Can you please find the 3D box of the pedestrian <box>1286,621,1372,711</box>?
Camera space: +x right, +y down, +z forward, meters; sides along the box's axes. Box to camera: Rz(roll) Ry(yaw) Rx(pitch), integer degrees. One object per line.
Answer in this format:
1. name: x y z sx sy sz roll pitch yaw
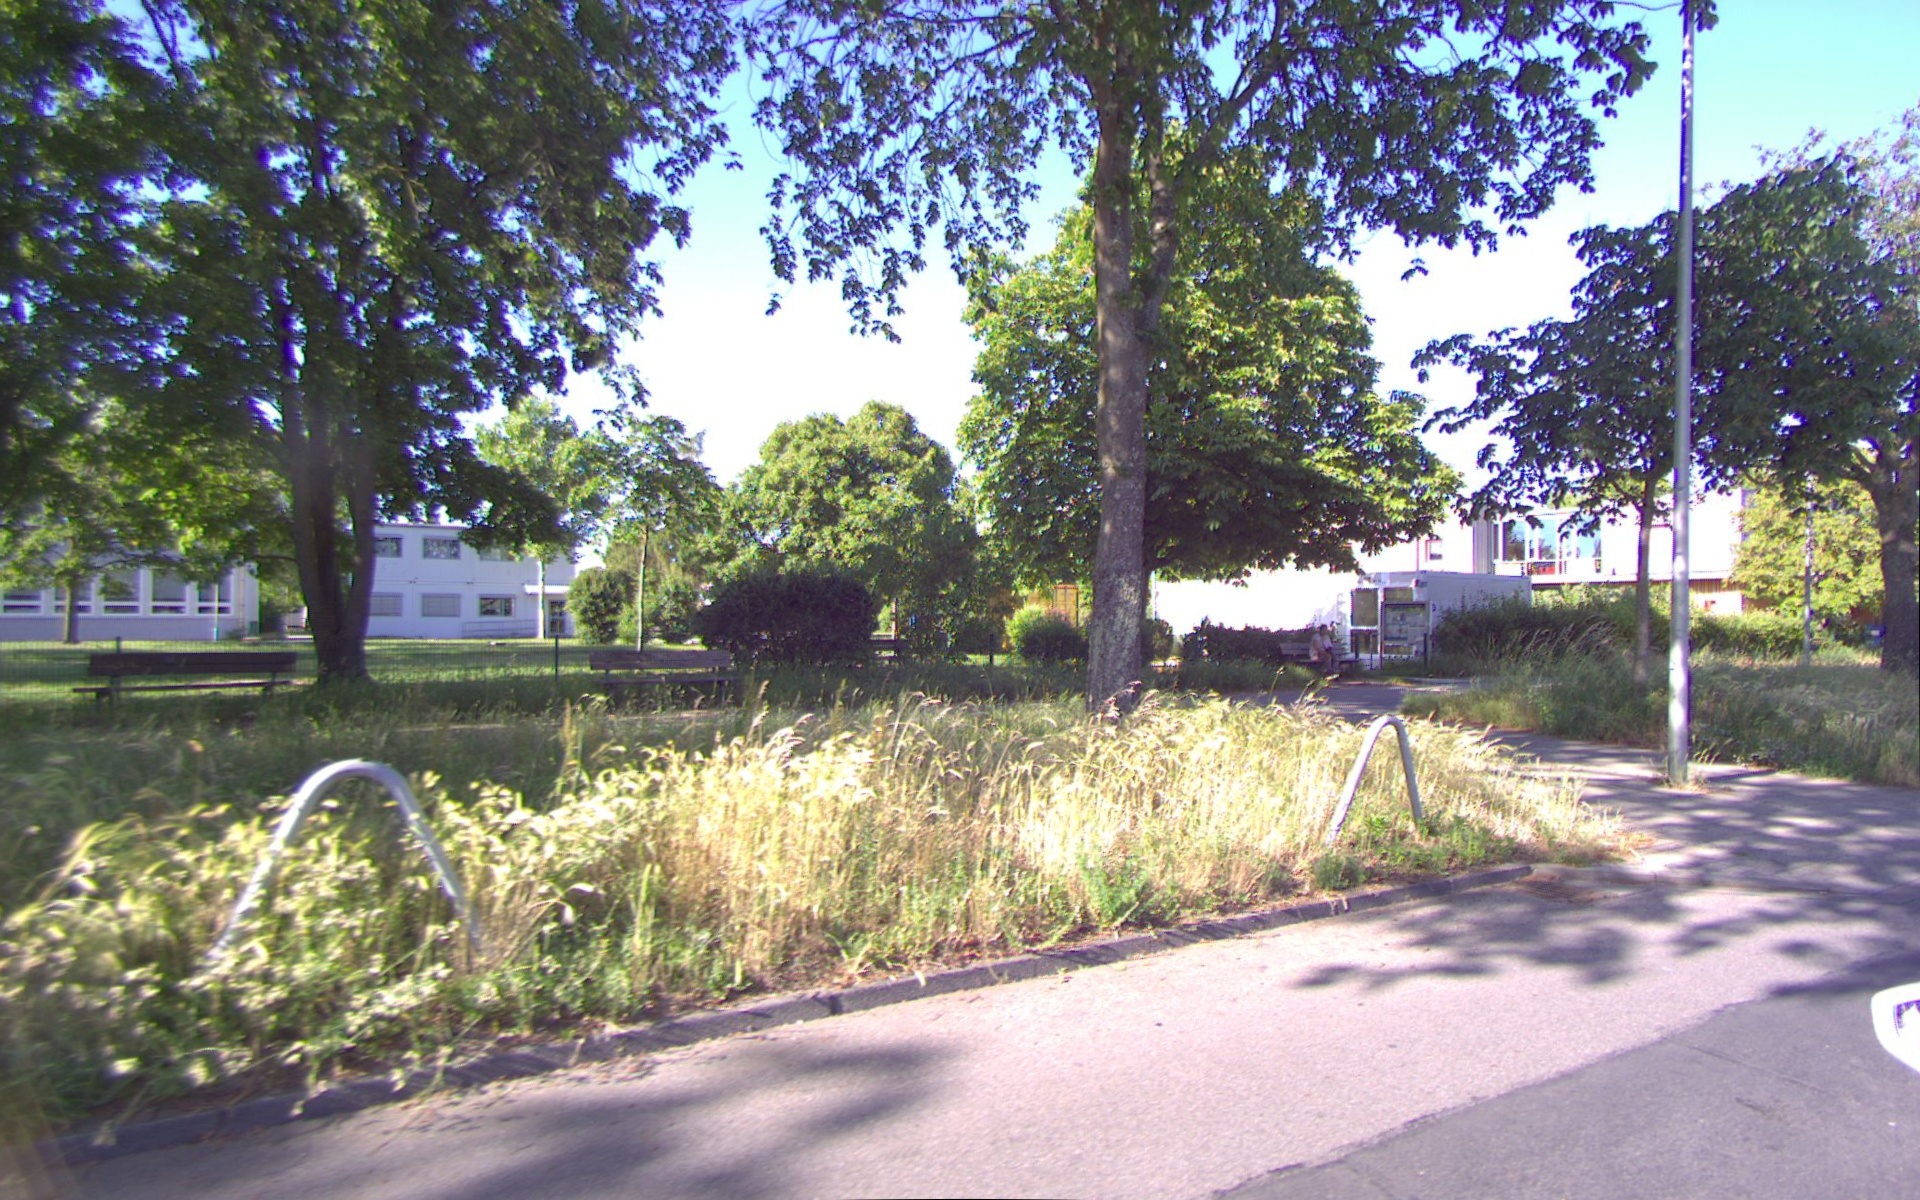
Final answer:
1. pedestrian: 8.127 1.420 22.114 1.212 1.851 1.541 2 0 44
